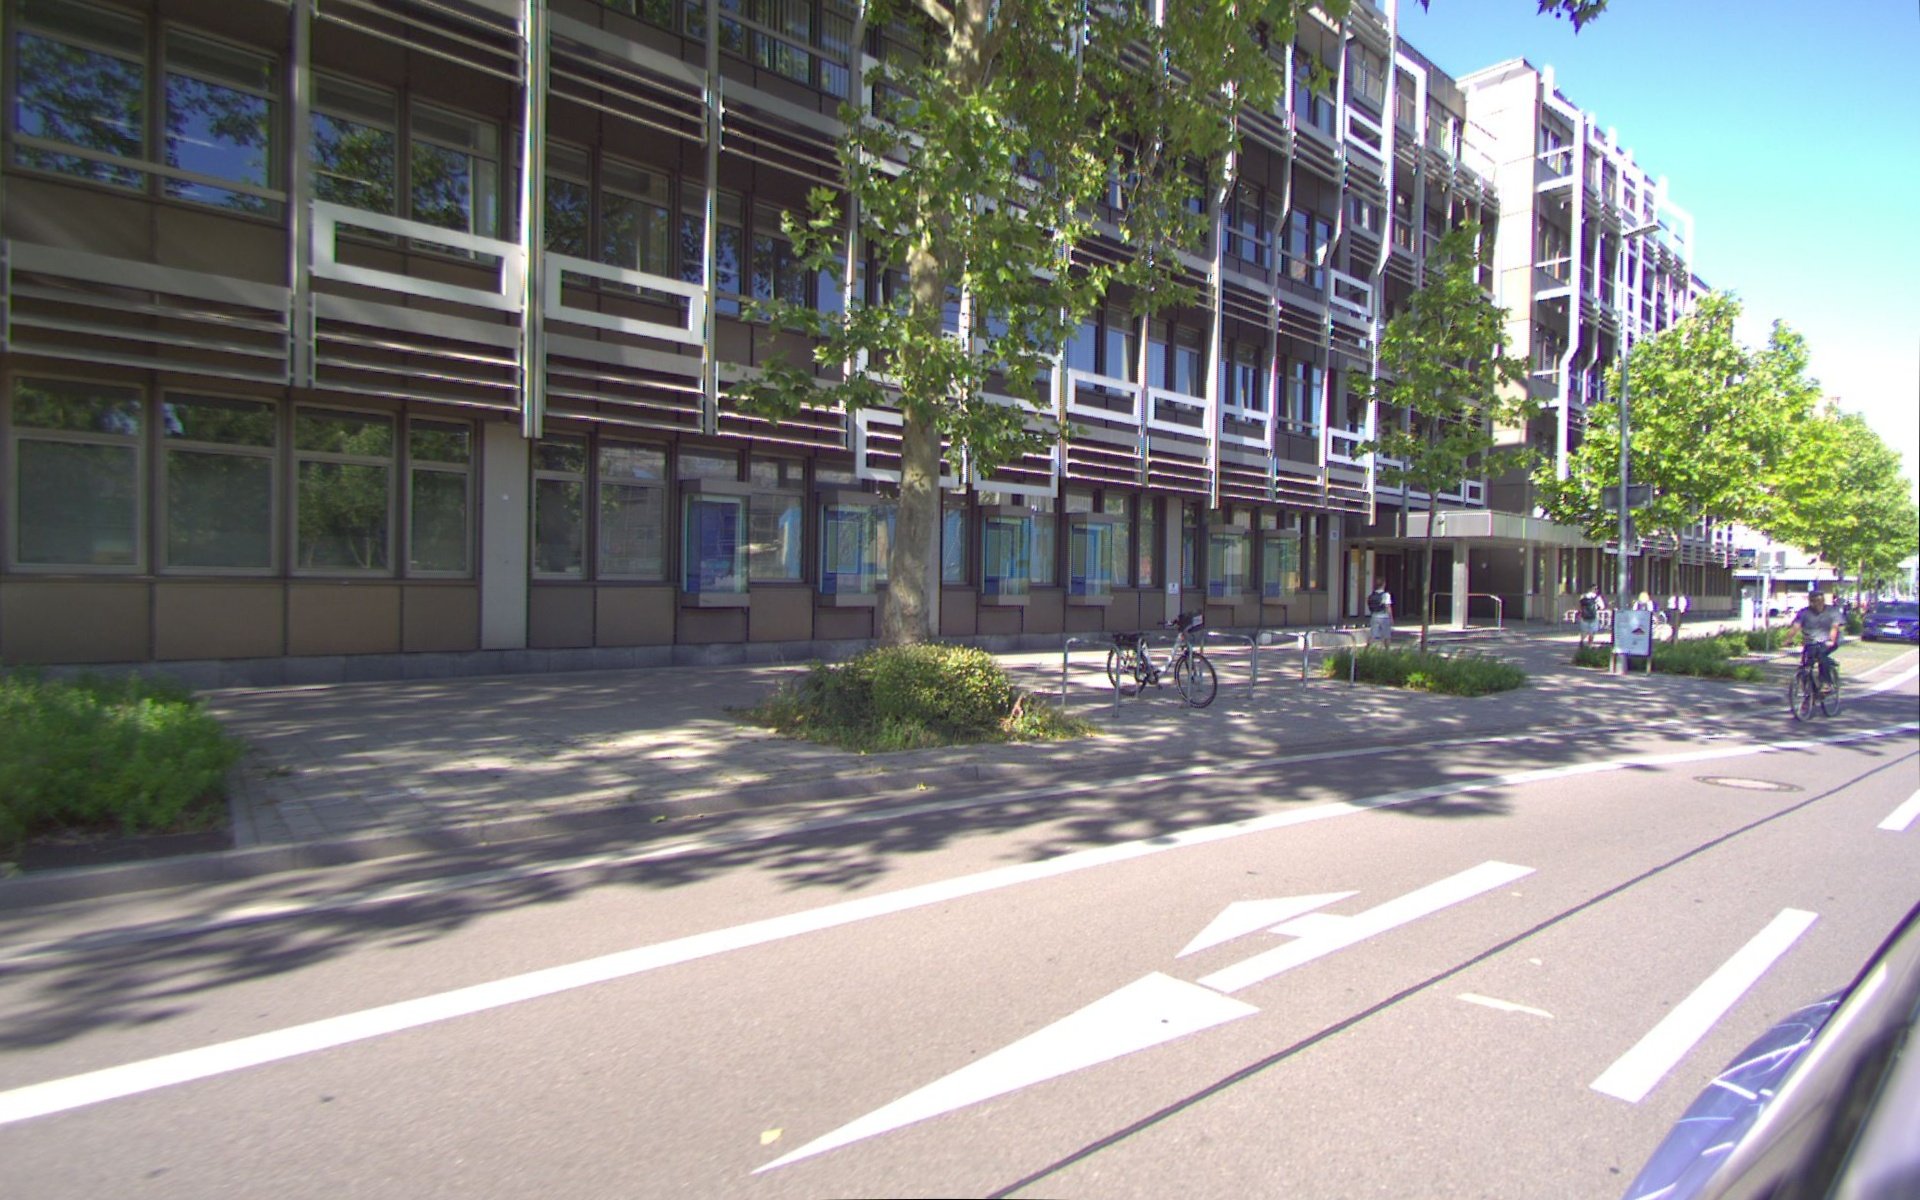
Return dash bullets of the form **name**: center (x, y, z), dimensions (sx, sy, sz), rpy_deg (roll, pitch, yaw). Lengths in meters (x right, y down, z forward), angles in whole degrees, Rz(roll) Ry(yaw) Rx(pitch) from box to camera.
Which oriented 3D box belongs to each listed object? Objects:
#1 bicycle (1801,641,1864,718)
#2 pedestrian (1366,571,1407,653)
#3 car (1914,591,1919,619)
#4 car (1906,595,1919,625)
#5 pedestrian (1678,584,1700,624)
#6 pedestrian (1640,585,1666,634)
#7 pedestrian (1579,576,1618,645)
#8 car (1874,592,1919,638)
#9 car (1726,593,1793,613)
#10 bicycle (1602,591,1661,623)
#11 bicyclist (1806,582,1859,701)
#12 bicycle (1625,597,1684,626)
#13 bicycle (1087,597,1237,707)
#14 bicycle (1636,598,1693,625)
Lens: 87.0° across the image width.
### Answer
- **bicycle**: center (12.084, 1.060, 13.999), dimensions (0.498, 0.917, 2.161), rpy_deg (-1, -1, 45)
- **pedestrian**: center (9.174, 0.253, 21.757), dimensions (0.760, 1.722, 0.512), rpy_deg (1, 0, -41)
- **car**: center (59.032, 0.315, 61.292), dimensions (1.747, 1.679, 4.400), rpy_deg (1, 1, 43)
- **car**: center (50.603, 0.537, 52.834), dimensions (1.619, 1.483, 4.088), rpy_deg (4, 3, 45)
- **pedestrian**: center (30.080, 0.158, 41.759), dimensions (0.662, 1.642, 0.512), rpy_deg (1, 3, -41)
- **pedestrian**: center (21.468, 0.274, 31.351), dimensions (0.723, 1.493, 0.512), rpy_deg (1, 0, -41)
- **pedestrian**: center (16.455, 0.252, 26.089), dimensions (0.789, 1.749, 0.648), rpy_deg (1, 0, -41)
- **car**: center (37.907, 0.580, 40.263), dimensions (4.767, 1.677, 1.852), rpy_deg (0, 3, -43)
- **car**: center (69.087, 0.234, 87.500), dimensions (4.378, 1.563, 1.831), rpy_deg (1, 1, 34)
- **bicycle**: center (26.559, 0.261, 40.036), dimensions (0.419, 1.111, 1.863), rpy_deg (0, 3, -38)
- **bicyclist**: center (12.157, 0.558, 14.100), dimensions (0.528, 1.621, 0.513), rpy_deg (0, 1, -45)
- **bicycle**: center (27.946, 0.441, 40.757), dimensions (0.419, 1.023, 1.863), rpy_deg (0, 3, -38)
- **bicycle**: center (2.601, 0.628, 13.245), dimensions (0.569, 1.252, 1.940), rpy_deg (1, 2, -42)
- **bicycle**: center (28.896, 0.458, 41.539), dimensions (0.419, 0.950, 1.863), rpy_deg (0, 3, -38)
